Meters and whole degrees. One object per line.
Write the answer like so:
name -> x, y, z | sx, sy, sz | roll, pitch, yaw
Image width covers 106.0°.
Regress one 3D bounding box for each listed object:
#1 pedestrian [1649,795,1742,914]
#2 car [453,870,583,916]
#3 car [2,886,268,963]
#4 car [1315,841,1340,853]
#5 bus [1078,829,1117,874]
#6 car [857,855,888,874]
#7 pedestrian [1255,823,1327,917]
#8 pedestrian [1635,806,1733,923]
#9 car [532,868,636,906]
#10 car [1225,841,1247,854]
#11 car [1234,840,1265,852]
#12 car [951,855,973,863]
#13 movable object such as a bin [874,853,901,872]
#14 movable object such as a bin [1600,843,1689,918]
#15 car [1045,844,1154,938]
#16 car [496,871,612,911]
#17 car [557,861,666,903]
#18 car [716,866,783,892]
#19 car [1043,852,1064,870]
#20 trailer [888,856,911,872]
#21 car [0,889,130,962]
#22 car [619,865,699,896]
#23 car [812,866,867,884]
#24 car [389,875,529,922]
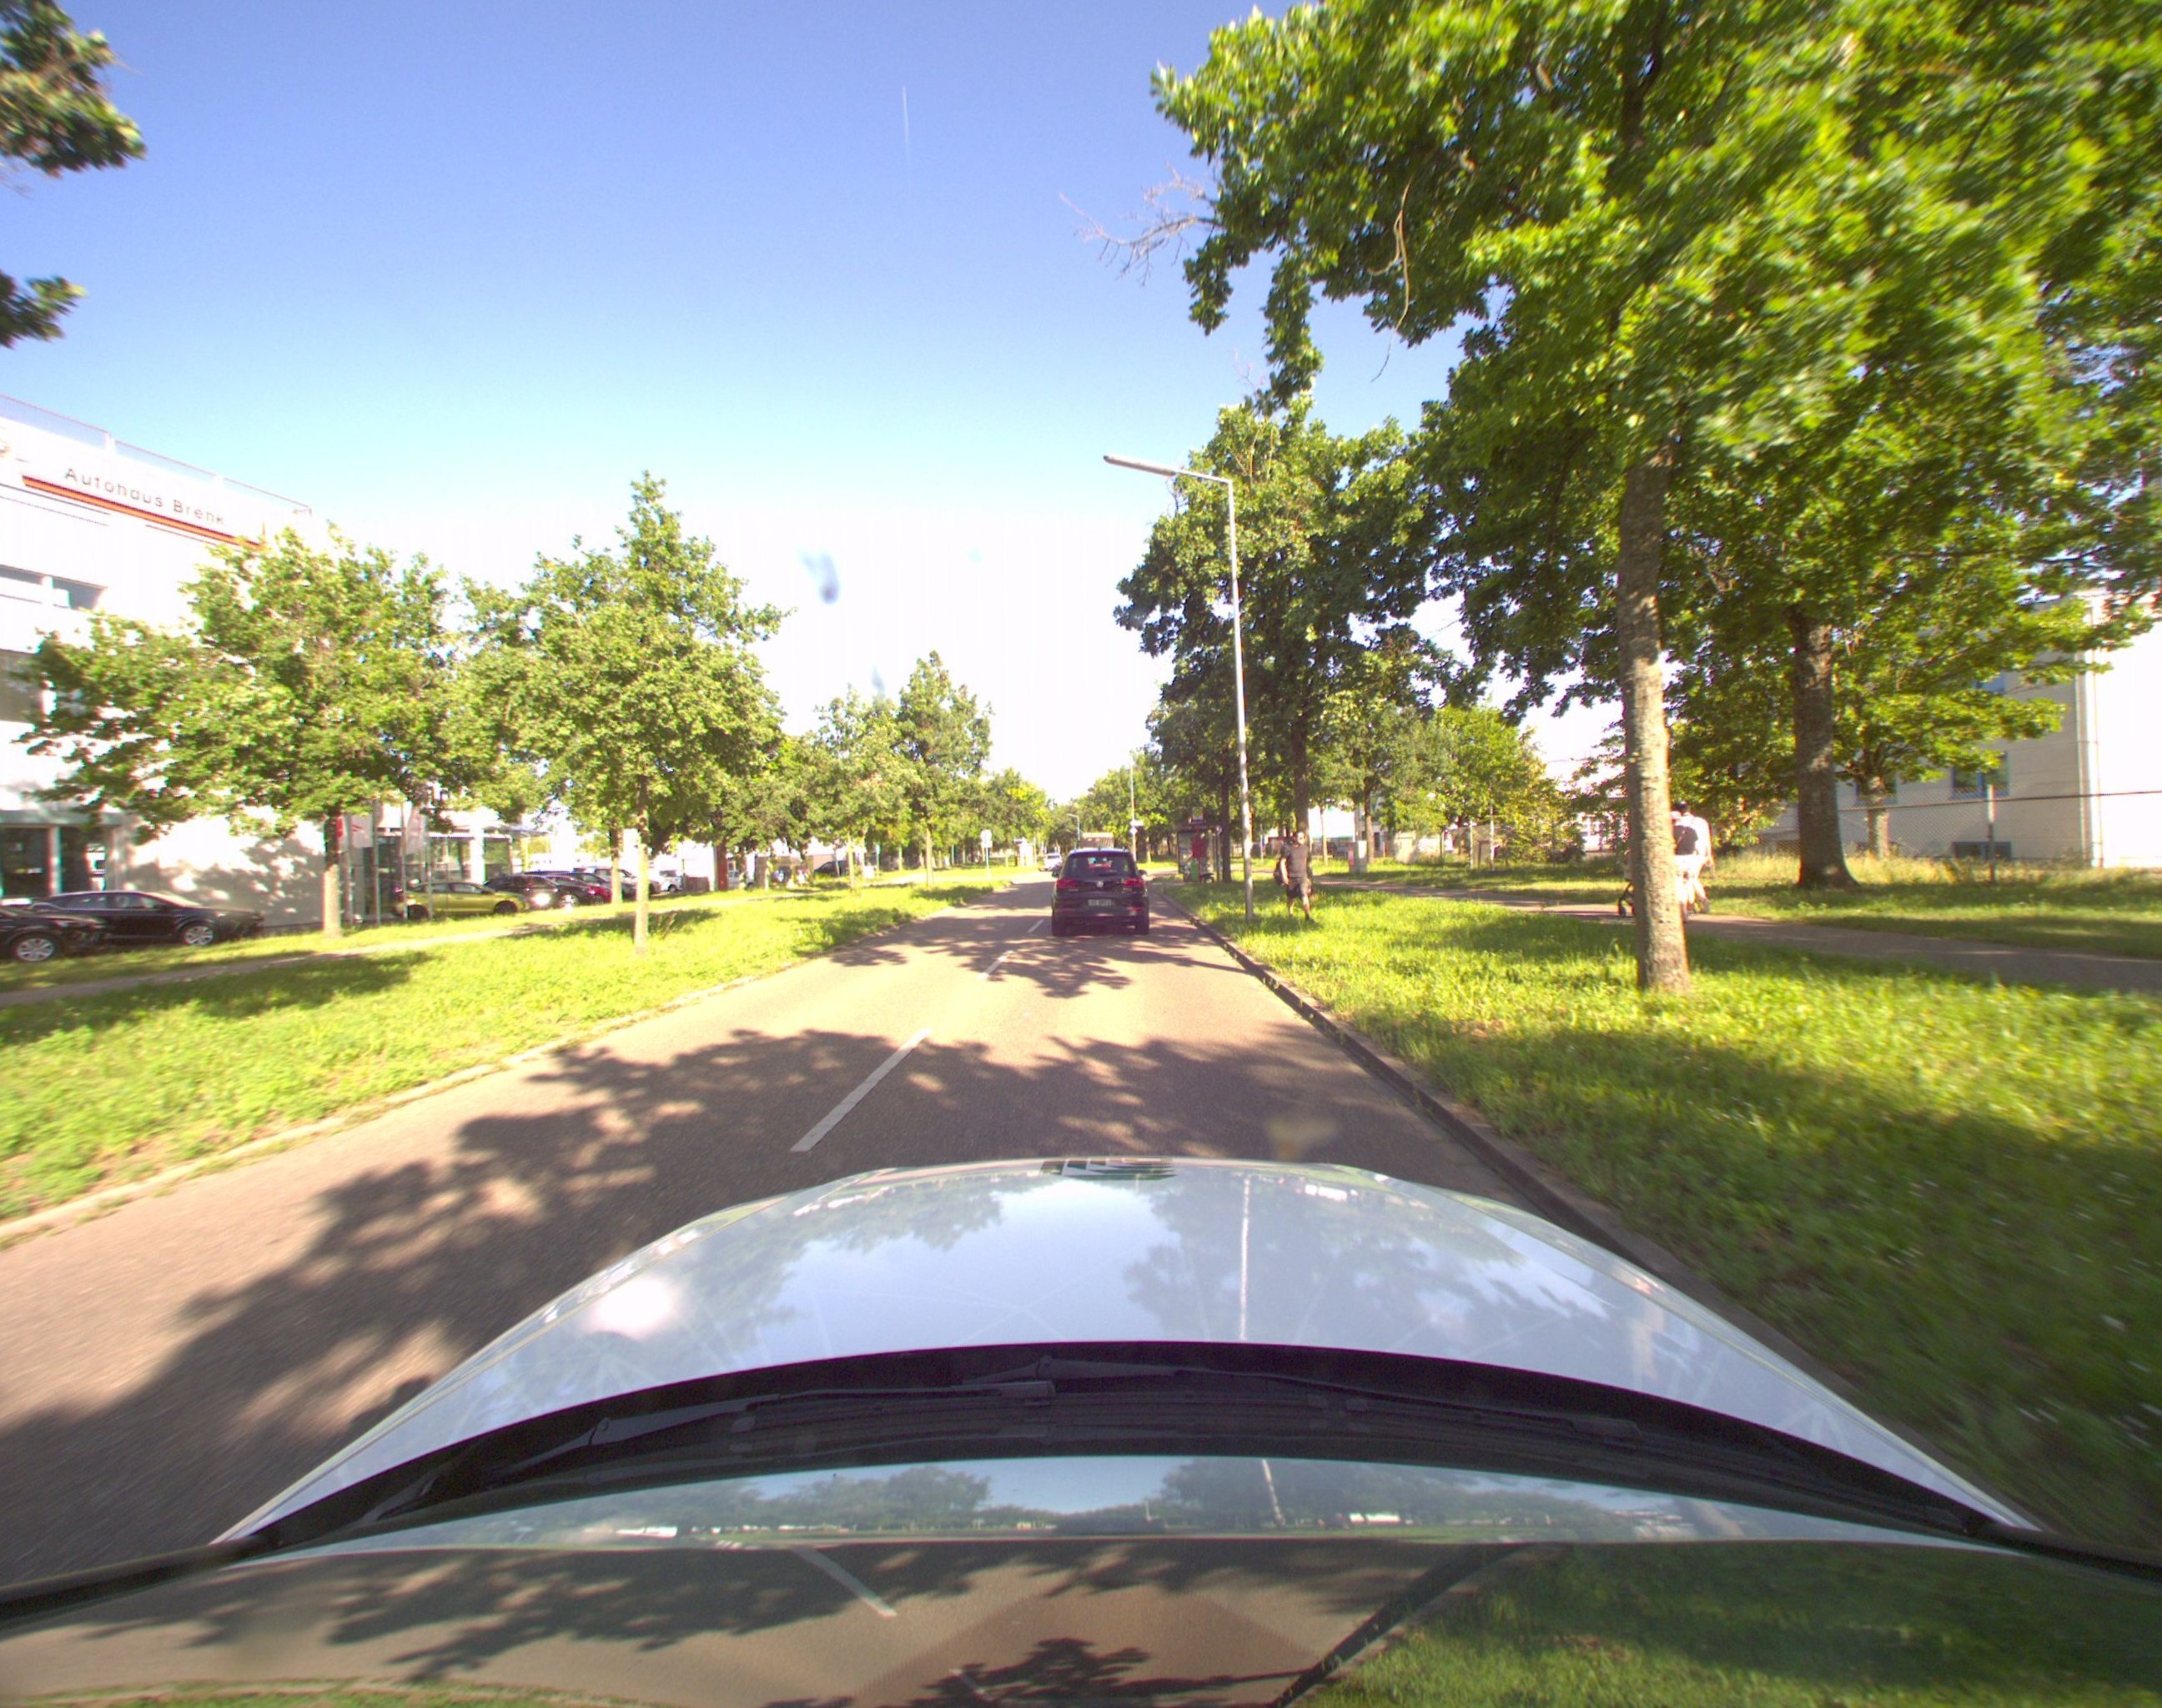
pedestrian -> 9.487, 0.002, 12.600 | 0.723, 1.755, 0.868 | -3, 0, 1
car -> -22.944, 1.552, 33.270 | 4.192, 1.538, 1.874 | -3, 0, -40
car -> -24.053, 1.726, 20.953 | 4.009, 1.511, 1.785 | -3, 1, -28
car -> 30.160, -0.897, 99.831 | 1.761, 1.383, 3.763 | -2, 0, -4
bus -> 1.271, -0.233, 69.279 | 2.756, 3.456, 11.205 | -2, 0, -1
car -> -23.506, 1.113, 92.108 | 2.030, 1.988, 5.803 | -3, 0, -1
pedestrian -> 3.904, 0.280, 15.239 | 1.015, 1.651, 1.100 | -3, 0, 1
pedestrian -> 8.713, 0.151, 11.802 | 0.723, 1.603, 0.868 | -3, 0, 1
car -> -24.196, 1.572, 39.833 | 4.183, 1.562, 1.981 | -3, 0, -30
car -> 23.078, -0.982, 121.316 | 2.179, 1.744, 4.636 | -2, 0, -3
car -> 27.934, -1.378, 134.931 | 4.624, 1.744, 2.185 | -2, 0, -8
car -> -25.139, 1.057, 172.106 | 4.181, 1.321, 1.943 | -2, 0, 3
movable object such as a bin -> -23.206, 0.992, 97.961 | 2.095, 2.217, 4.460 | -2, 0, 0
movable object such as a bin -> 8.750, 0.391, 12.681 | 0.723, 1.081, 0.868 | -4, 0, 1
car -> 0.403, 0.639, 16.763 | 1.929, 1.656, 4.429 | -1, 1, 2
car -> -23.553, 1.628, 36.460 | 4.190, 1.491, 1.977 | -3, 0, -37
car -> -25.752, 1.512, 44.780 | 4.884, 2.013, 1.976 | -3, 0, -40
car -> -22.691, 1.694, 55.796 | 3.714, 1.618, 1.972 | -2, 0, 16
car -> -2.483, 0.614, 72.406 | 1.740, 1.464, 4.423 | -3, 0, -2
trailer -> -23.409, 1.250, 105.092 | 2.096, 1.914, 3.740 | -2, 0, 0
car -> -24.154, 1.630, 17.861 | 4.022, 1.448, 1.780 | -3, 0, -41
car -> -29.764, 1.864, 57.446 | 4.970, 1.906, 1.950 | -2, 0, 17
car -> -22.658, 1.960, 76.599 | 4.478, 1.479, 1.945 | -3, 0, 6
car -> -22.900, 1.598, 30.061 | 3.974, 1.401, 1.976 | -3, 0, -40
